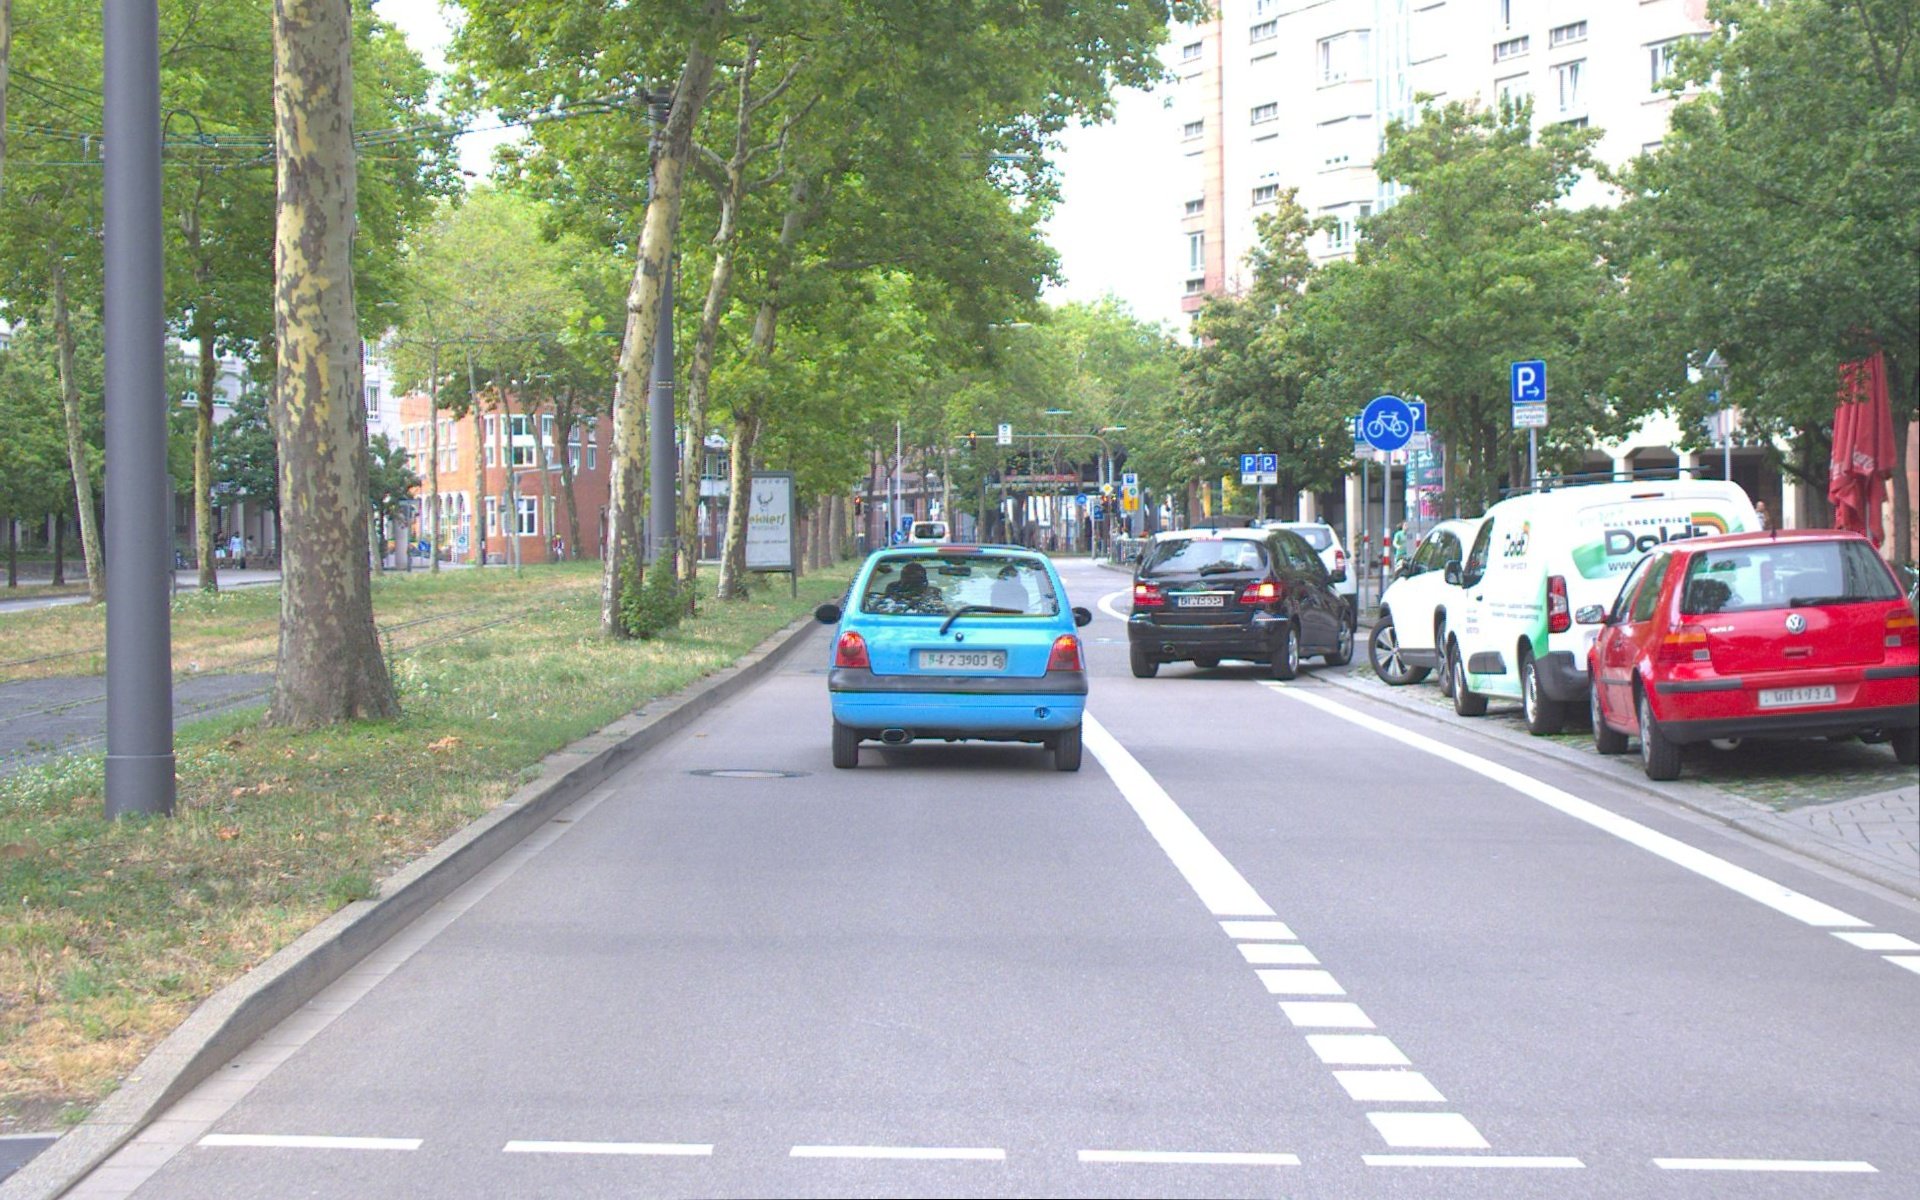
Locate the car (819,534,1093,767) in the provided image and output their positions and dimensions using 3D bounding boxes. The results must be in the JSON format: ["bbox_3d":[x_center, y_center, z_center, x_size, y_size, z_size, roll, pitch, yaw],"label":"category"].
[{"bbox_3d":[-0.006,0.267,22.562,1.640,1.381,3.843,0,1,1],"label":"car"}]

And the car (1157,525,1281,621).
[{"bbox_3d":[4.465,-0.499,59.799,1.715,1.513,4.204,-2,1,-1],"label":"car"}]

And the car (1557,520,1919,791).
[{"bbox_3d":[4.884,0.267,21.620,1.722,1.428,4.253,-3,1,4],"label":"car"}]

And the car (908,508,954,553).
[{"bbox_3d":[-1.226,-3.033,148.975,1.931,1.919,4.956,-1,1,0],"label":"car"}]

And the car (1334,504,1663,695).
[{"bbox_3d":[5.090,-0.062,33.136,1.994,1.597,4.584,-4,2,-5],"label":"car"}]

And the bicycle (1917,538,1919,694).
[{"bbox_3d":[8.335,0.112,26.008,2.056,1.193,0.479,-1,1,8],"label":"bicycle"}]

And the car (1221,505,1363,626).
[{"bbox_3d":[4.842,-0.540,50.572,1.861,1.647,4.163,-2,1,3],"label":"car"}]

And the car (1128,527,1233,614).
[{"bbox_3d":[4.133,-0.589,64.946,1.740,1.513,4.401,-2,1,1],"label":"car"}]

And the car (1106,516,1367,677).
[{"bbox_3d":[3.120,-0.076,38.005,1.776,1.571,4.301,-2,1,19],"label":"car"}]

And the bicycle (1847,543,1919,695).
[{"bbox_3d":[8.168,0.136,27.427,2.056,1.193,0.479,-1,1,8],"label":"bicycle"}]

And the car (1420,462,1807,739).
[{"bbox_3d":[4.907,-0.056,26.475,1.826,1.858,4.649,-3,1,-2],"label":"car"}]
